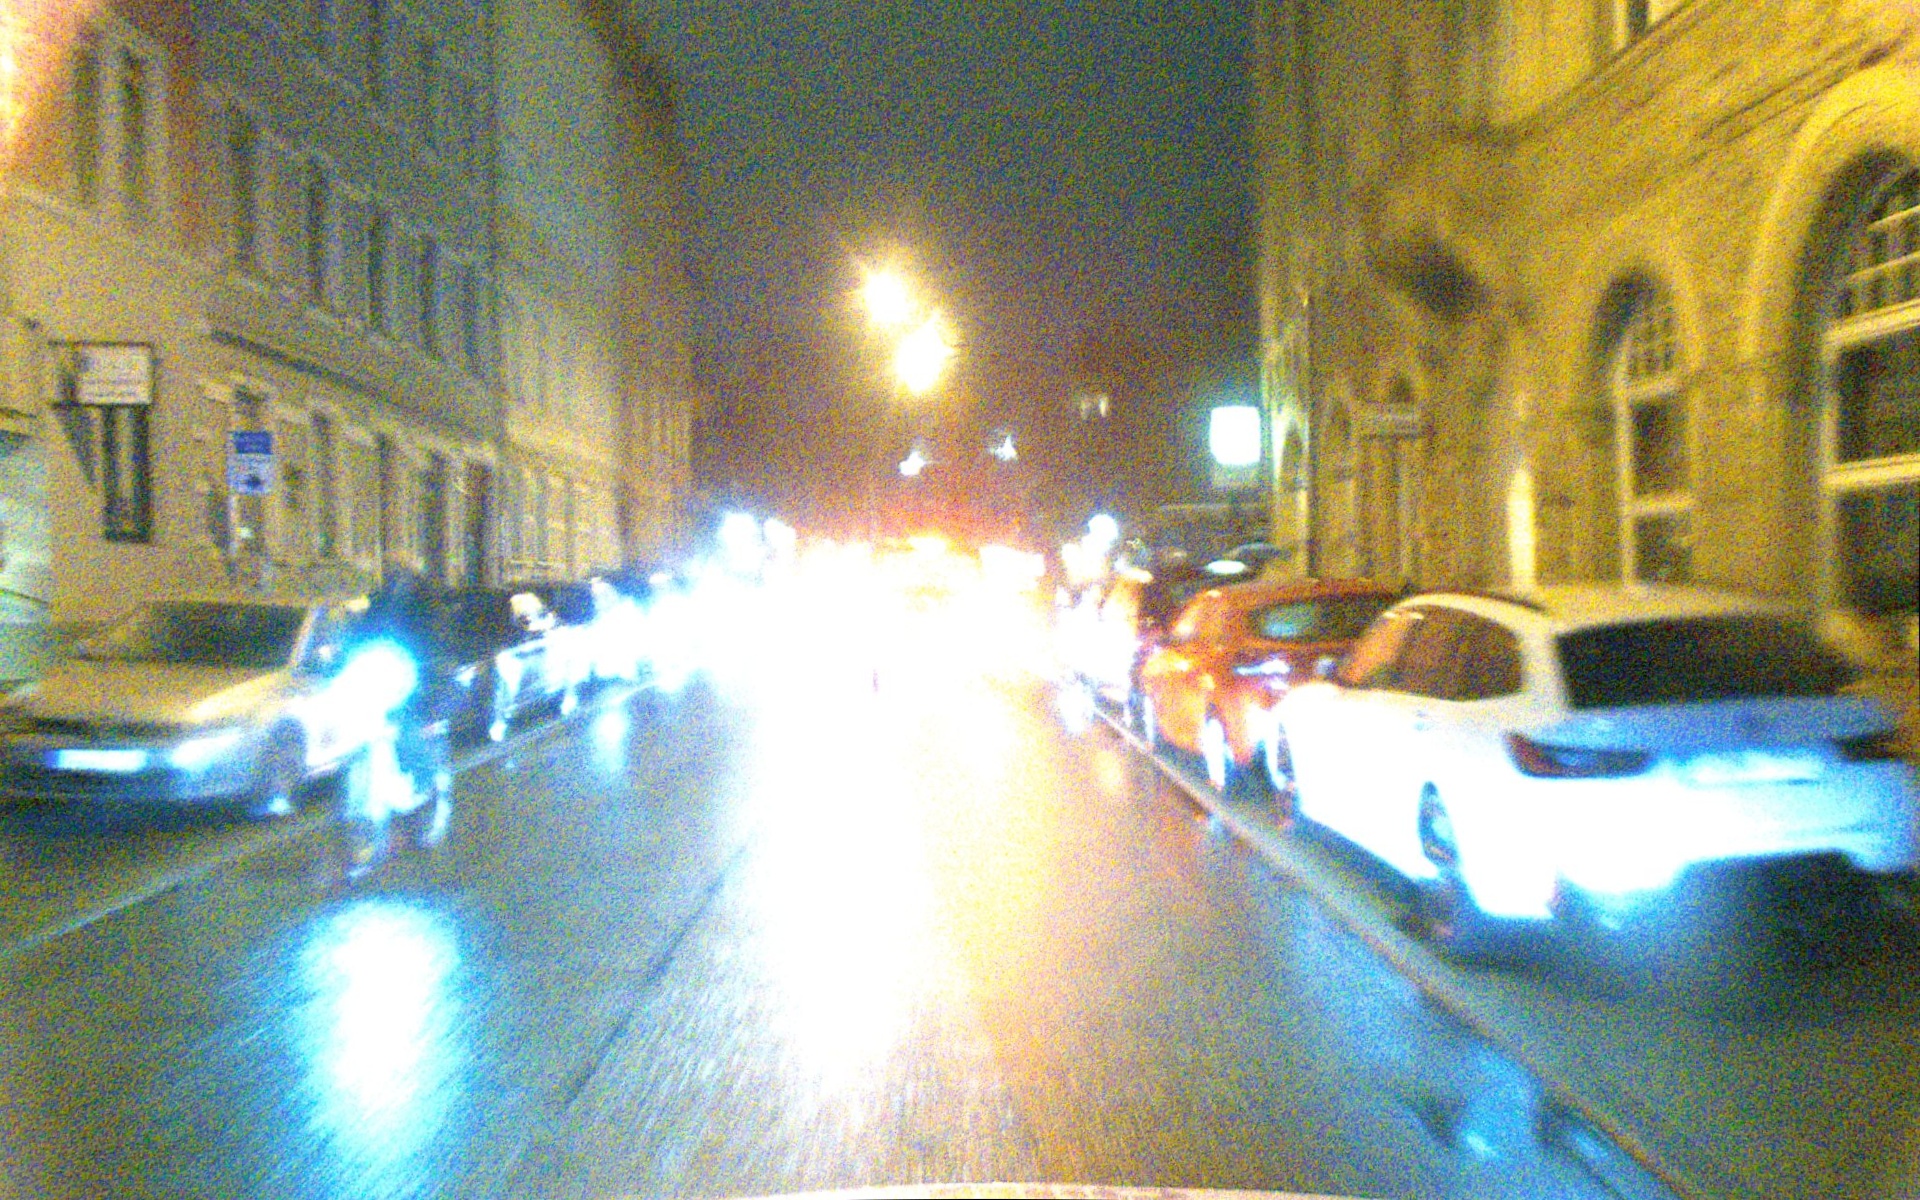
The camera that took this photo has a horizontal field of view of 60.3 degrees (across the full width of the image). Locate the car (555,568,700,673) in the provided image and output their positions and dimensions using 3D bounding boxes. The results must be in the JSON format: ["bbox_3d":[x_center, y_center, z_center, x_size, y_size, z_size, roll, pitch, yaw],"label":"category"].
[{"bbox_3d":[-5.473,0.299,27.631,1.710,1.616,3.765,0,1,-1],"label":"car"}]

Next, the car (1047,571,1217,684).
[{"bbox_3d":[2.350,0.335,23.594,1.879,1.436,3.999,-1,1,-2],"label":"car"}]

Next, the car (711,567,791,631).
[{"bbox_3d":[-5.986,-0.051,47.760,1.795,1.747,4.594,0,1,-1],"label":"car"}]

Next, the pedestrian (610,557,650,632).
[{"bbox_3d":[-8.292,-0.140,41.624,0.727,1.836,0.987,2,0,2],"label":"pedestrian"}]

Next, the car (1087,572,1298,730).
[{"bbox_3d":[2.442,0.480,18.232,1.655,1.524,3.890,-1,1,-2],"label":"car"}]

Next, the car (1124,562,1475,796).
[{"bbox_3d":[2.465,0.498,12.964,1.656,1.524,3.888,-1,1,-5],"label":"car"}]

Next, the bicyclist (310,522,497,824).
[{"bbox_3d":[-3.075,0.380,9.215,0.704,1.583,0.895,-1,0,-1],"label":"bicyclist"}]

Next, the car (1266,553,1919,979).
[{"bbox_3d":[2.920,0.560,8.085,1.953,1.489,4.416,-1,1,-1],"label":"car"}]

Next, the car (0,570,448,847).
[{"bbox_3d":[-5.123,0.612,11.727,1.738,1.599,4.134,-1,1,-1],"label":"car"}]

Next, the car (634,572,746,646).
[{"bbox_3d":[-5.902,0.161,36.631,1.795,1.512,4.594,0,1,-1],"label":"car"}]

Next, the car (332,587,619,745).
[{"bbox_3d":[-4.938,0.592,17.513,1.785,1.414,4.425,-1,1,-1],"label":"car"}]

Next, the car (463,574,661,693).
[{"bbox_3d":[-5.482,0.406,23.331,1.795,1.507,4.306,0,1,-1],"label":"car"}]

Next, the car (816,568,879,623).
[{"bbox_3d":[-3.687,-0.185,54.731,1.882,1.646,4.573,-2,1,-2],"label":"car"}]

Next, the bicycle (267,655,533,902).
[{"bbox_3d":[-3.062,0.919,9.325,0.712,1.091,2.348,-1,1,-1],"label":"bicycle"}]

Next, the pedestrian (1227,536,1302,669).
[{"bbox_3d":[4.335,0.016,23.634,0.844,1.819,1.083,-2,2,2],"label":"pedestrian"}]

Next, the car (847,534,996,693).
[{"bbox_3d":[-0.528,0.143,24.296,1.955,2.084,4.694,0,1,-1],"label":"car"}]
